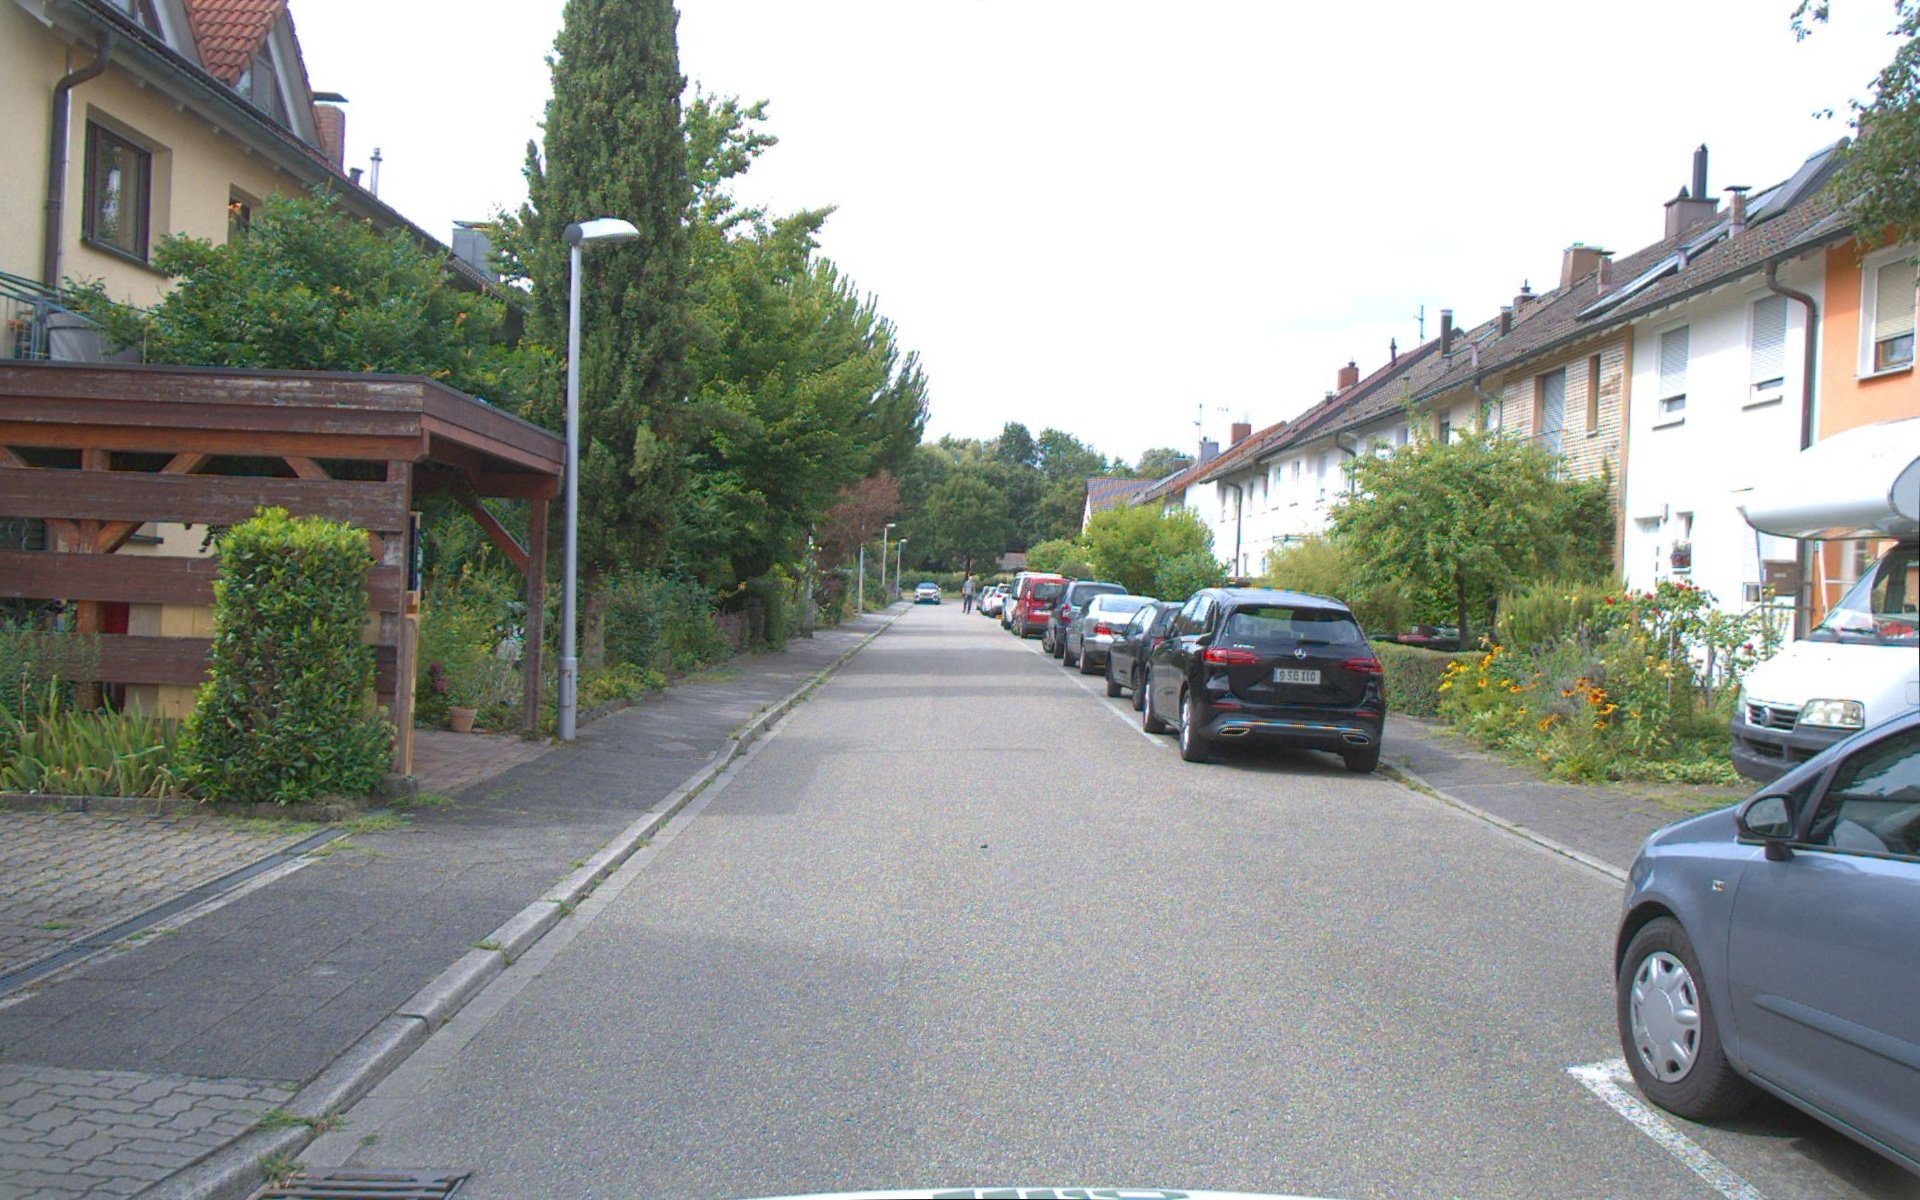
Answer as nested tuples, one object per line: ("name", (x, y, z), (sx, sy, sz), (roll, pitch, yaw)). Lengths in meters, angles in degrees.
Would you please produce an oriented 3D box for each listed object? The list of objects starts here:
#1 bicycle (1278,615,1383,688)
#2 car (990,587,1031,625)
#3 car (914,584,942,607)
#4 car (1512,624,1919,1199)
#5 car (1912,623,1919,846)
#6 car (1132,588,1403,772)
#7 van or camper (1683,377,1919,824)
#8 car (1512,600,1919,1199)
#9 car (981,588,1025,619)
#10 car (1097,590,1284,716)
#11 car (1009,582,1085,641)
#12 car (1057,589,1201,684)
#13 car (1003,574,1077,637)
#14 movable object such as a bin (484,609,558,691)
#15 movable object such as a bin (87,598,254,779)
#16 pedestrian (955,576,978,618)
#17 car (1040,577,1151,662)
("bicycle", (5.670, 0.783, 25.341), (1.506, 1.041, 0.376), (2, 0, 4))
("car", (2.270, 0.233, 75.205), (1.679, 1.570, 3.973), (4, 0, 0))
("car", (-2.289, -0.318, 119.985), (1.894, 1.583, 4.634), (2, 1, 0))
("car", (3.040, 0.896, 4.142), (1.669, 1.467, 4.218), (3, 0, -3))
("car", (8.191, 0.760, 9.374), (4.437, 1.737, 1.900), (2, 0, 2))
("car", (2.872, 0.669, 16.460), (1.714, 1.492, 4.647), (2, 0, -1))
("van or camper", (8.573, 0.062, 11.807), (5.678, 2.867, 2.538), (2, 0, 3))
("car", (3.070, 0.807, 4.158), (1.707, 1.496, 4.214), (2, 1, -3))
("car", (2.104, 0.134, 82.788), (1.801, 1.437, 4.634), (1, 1, -3))
("car", (2.972, 0.634, 22.120), (1.698, 1.453, 4.124), (2, 0, -3))
("car", (2.617, 0.317, 50.591), (1.775, 1.679, 4.407), (1, 1, -4))
("car", (2.965, 0.601, 29.986), (1.830, 1.431, 4.765), (4, 1, -3))
("car", (2.640, 0.163, 55.591), (1.980, 1.981, 4.745), (1, 1, -3))
("movable object such as a bin", (-5.435, 0.614, 20.516), (0.697, 0.973, 0.751), (2, 0, -1))
("movable object such as a bin", (-5.273, 0.568, 11.092), (0.689, 1.150, 0.877), (1, 0, -1))
("pedestrian", (0.343, -0.148, 83.100), (0.897, 2.049, 0.947), (2, 0, -15))
("car", (2.912, 0.372, 36.425), (1.830, 1.682, 4.462), (2, 1, -3))
